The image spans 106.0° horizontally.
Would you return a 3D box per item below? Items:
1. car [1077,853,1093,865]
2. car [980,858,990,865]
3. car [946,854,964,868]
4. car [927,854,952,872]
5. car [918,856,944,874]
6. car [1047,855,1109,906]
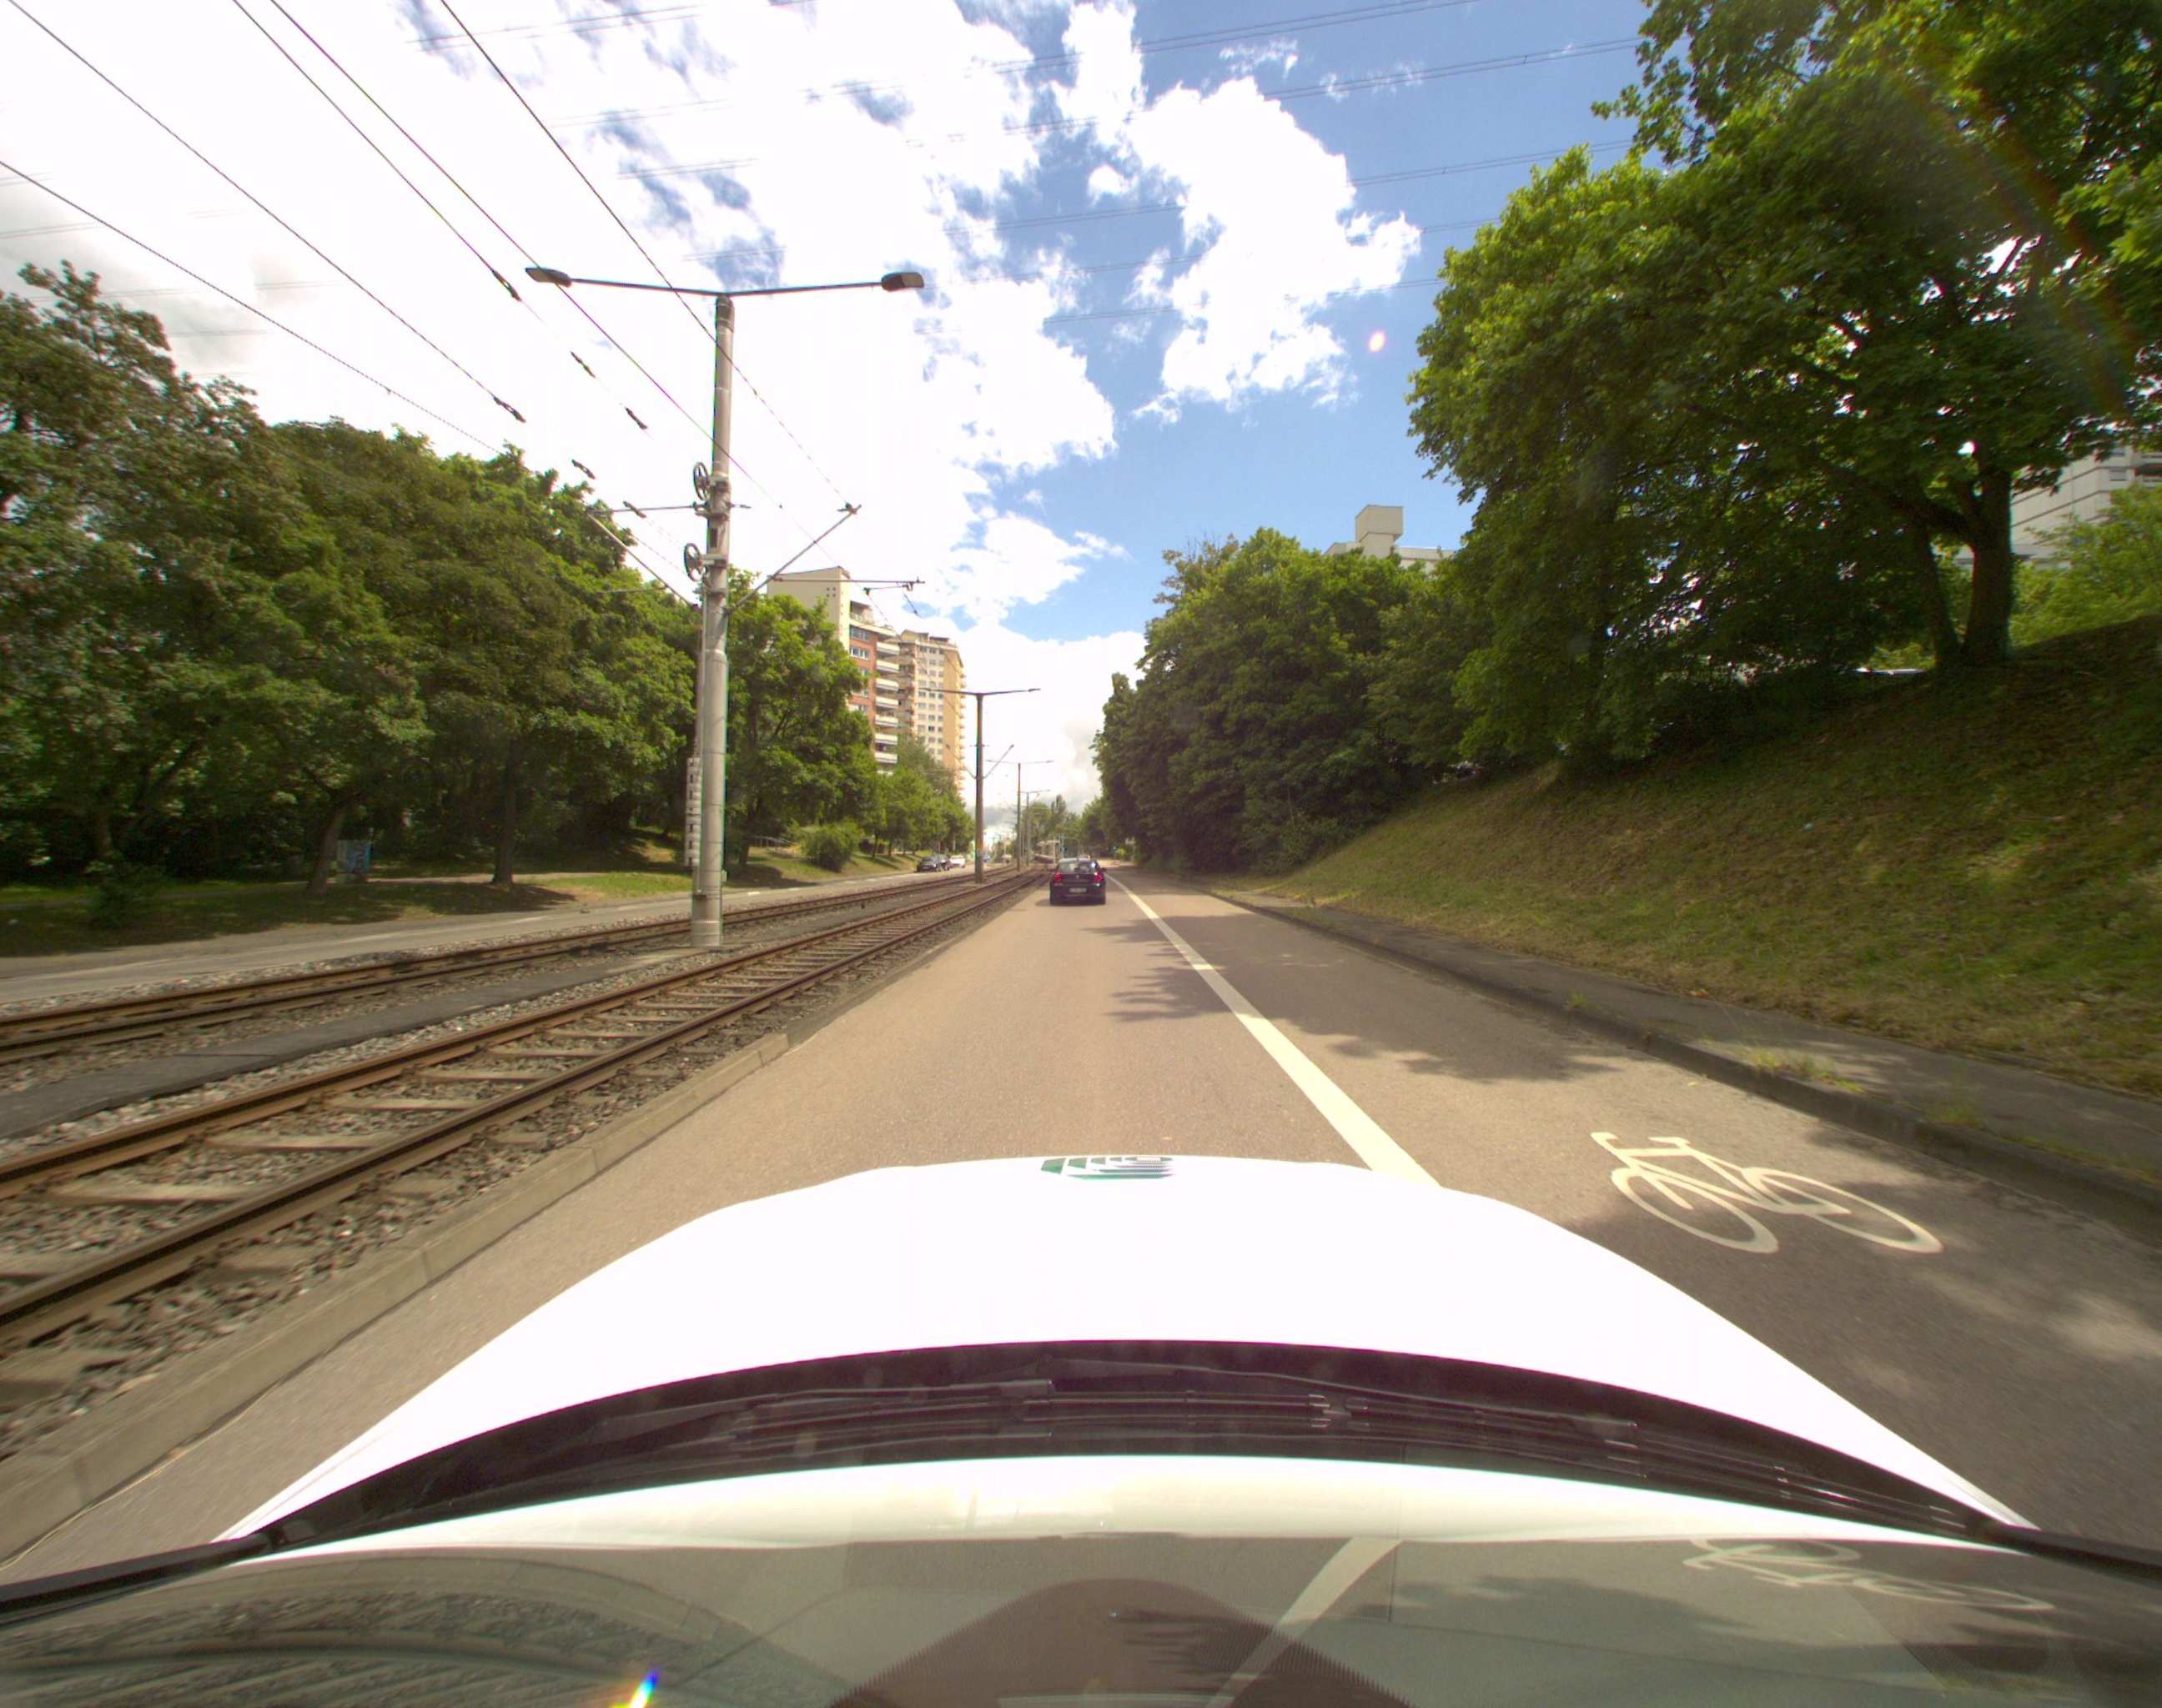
[{"bbox_3d":[0.431,0.607,101.729,1.777,1.459,3.916,0,0,-3],"label":"car"},{"bbox_3d":[-19.078,1.429,161.829,1.716,1.442,3.928,0,0,-11],"label":"car"},{"bbox_3d":[-15.050,0.843,97.386,1.779,1.532,4.236,-1,0,-5],"label":"car"},{"bbox_3d":[-13.941,0.888,80.349,1.770,1.630,4.378,-1,-1,-2],"label":"car"},{"bbox_3d":[-13.522,0.968,73.528,1.770,1.498,3.994,0,0,-2],"label":"car"},{"bbox_3d":[-0.143,0.782,25.902,1.776,1.459,3.918,-1,0,-2],"label":"car"}]
